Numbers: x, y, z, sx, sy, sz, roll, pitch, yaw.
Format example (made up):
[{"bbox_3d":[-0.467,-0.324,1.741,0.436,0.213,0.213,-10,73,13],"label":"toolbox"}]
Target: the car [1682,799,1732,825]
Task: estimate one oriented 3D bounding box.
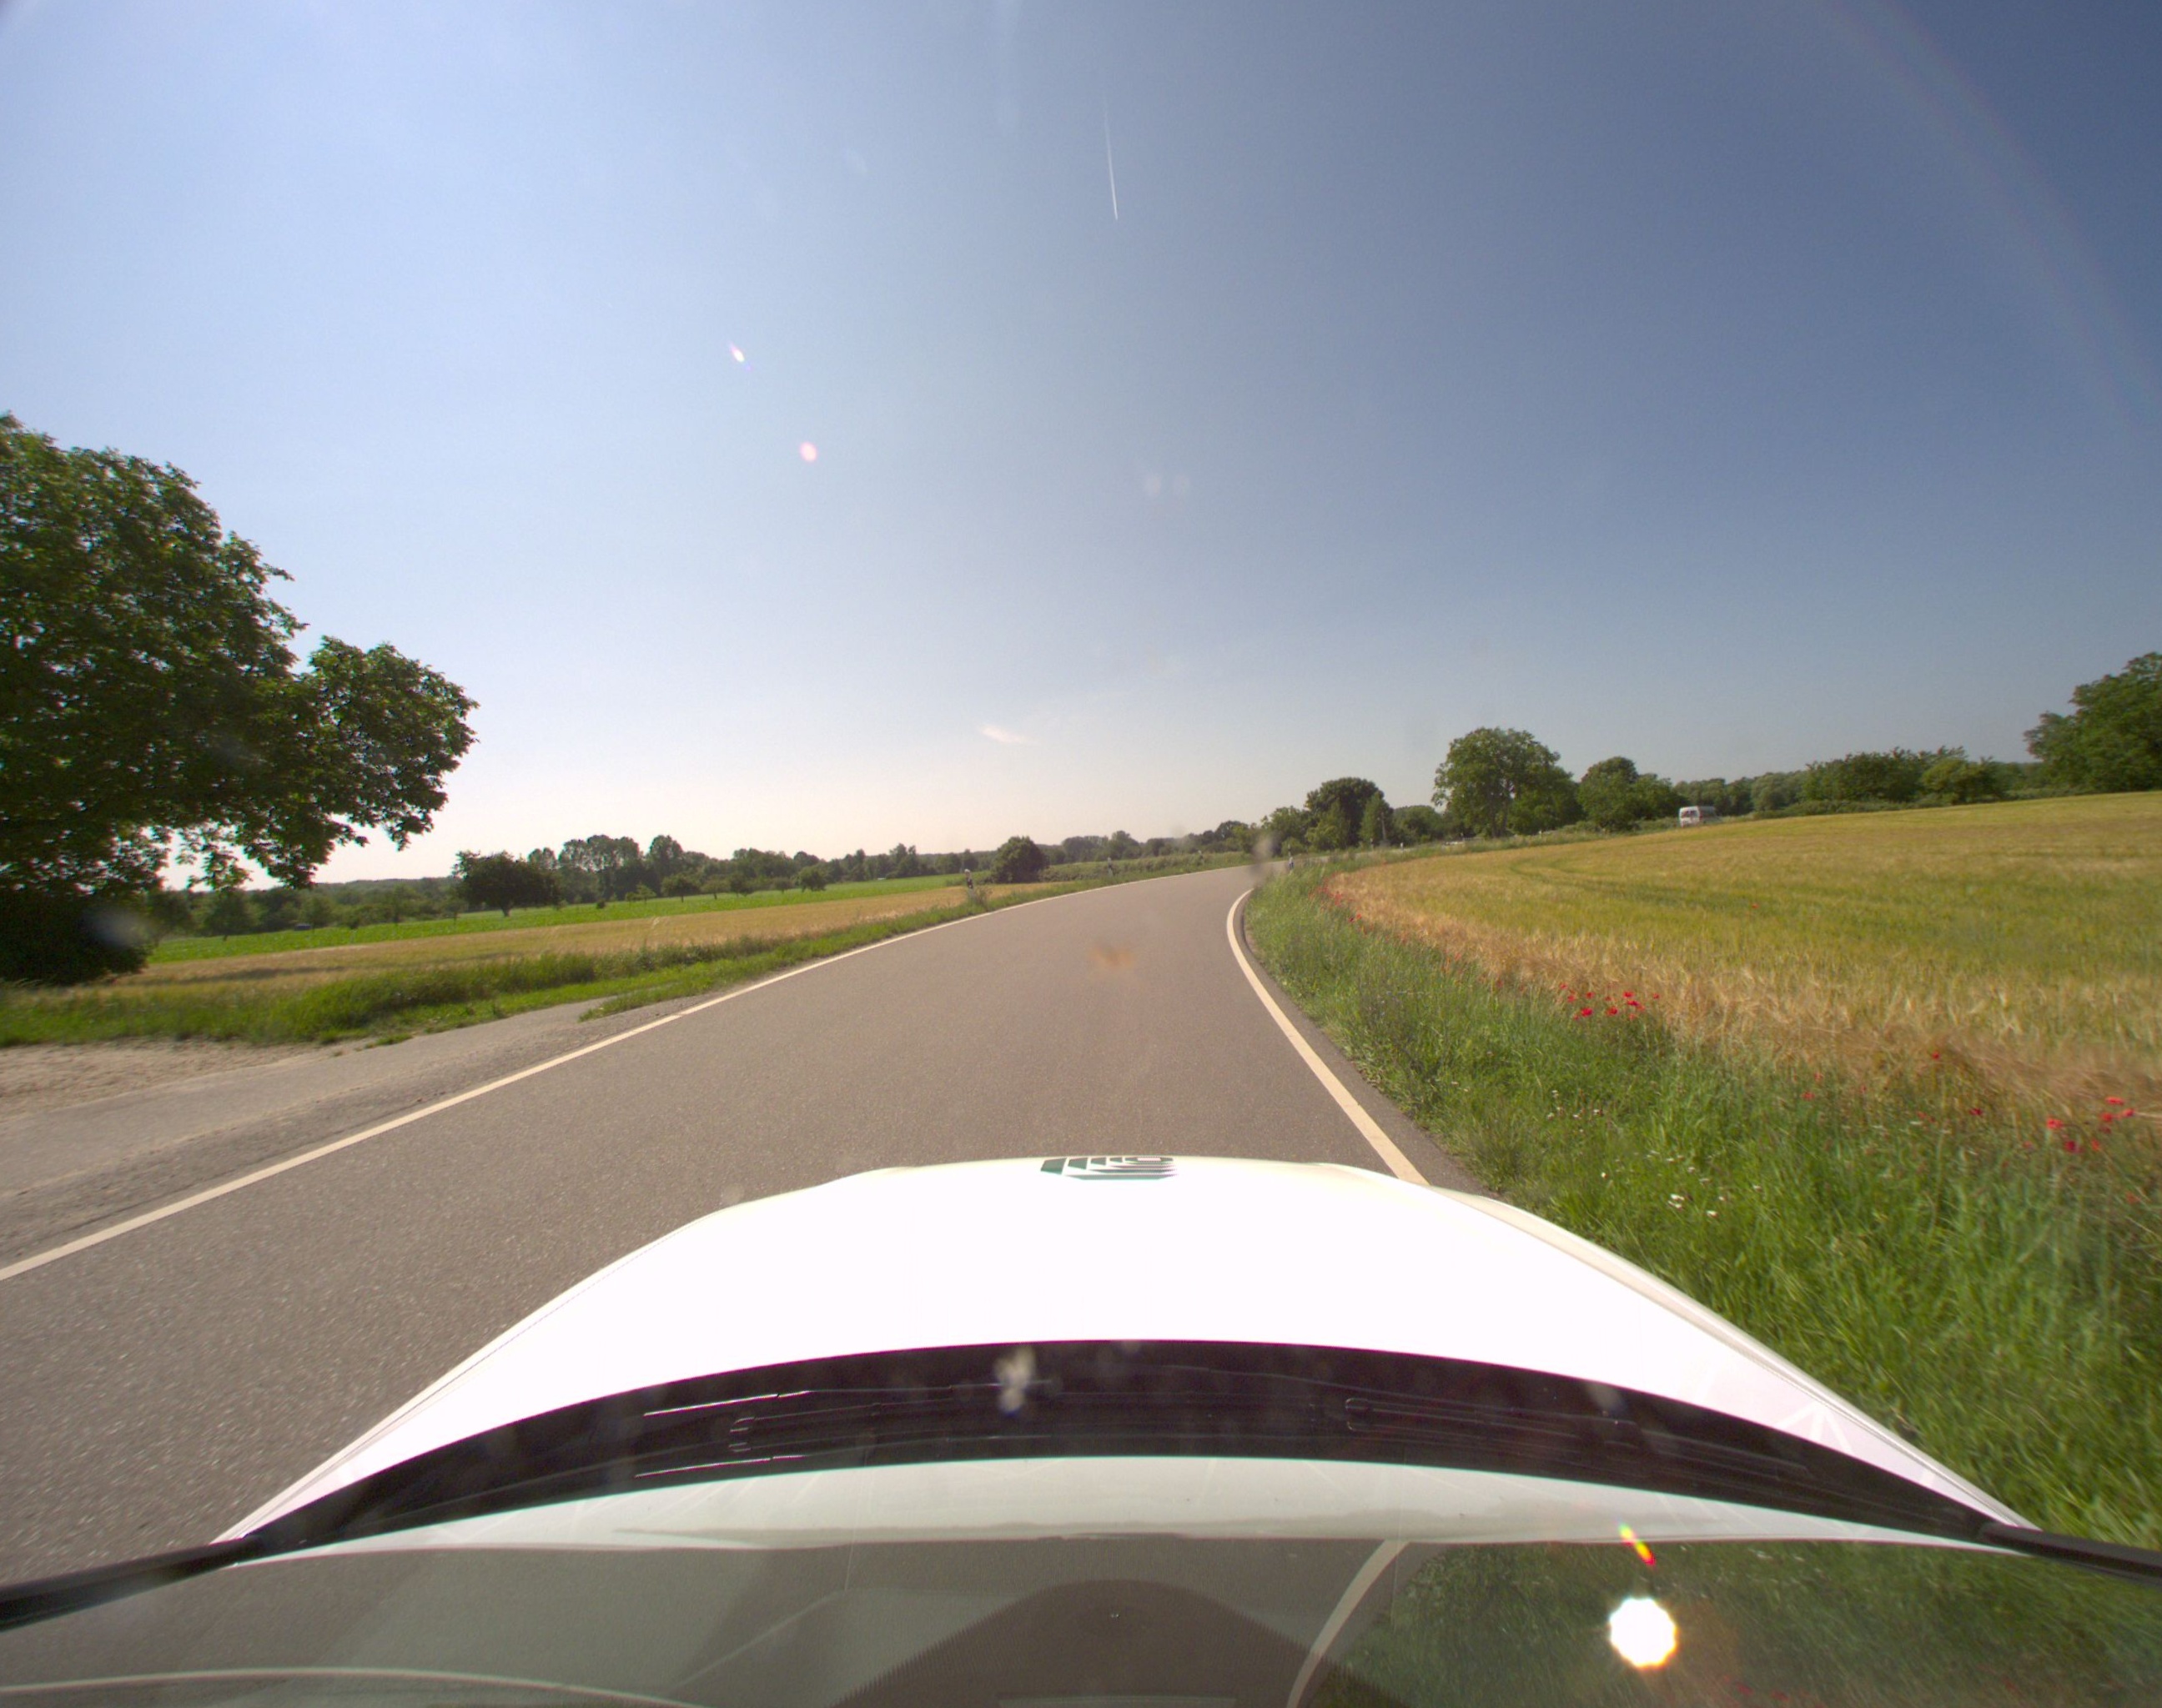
[{"bbox_3d":[67.632,-4.549,87.971,5.704,2.367,2.090,-5,0,-30],"label":"car"}]
